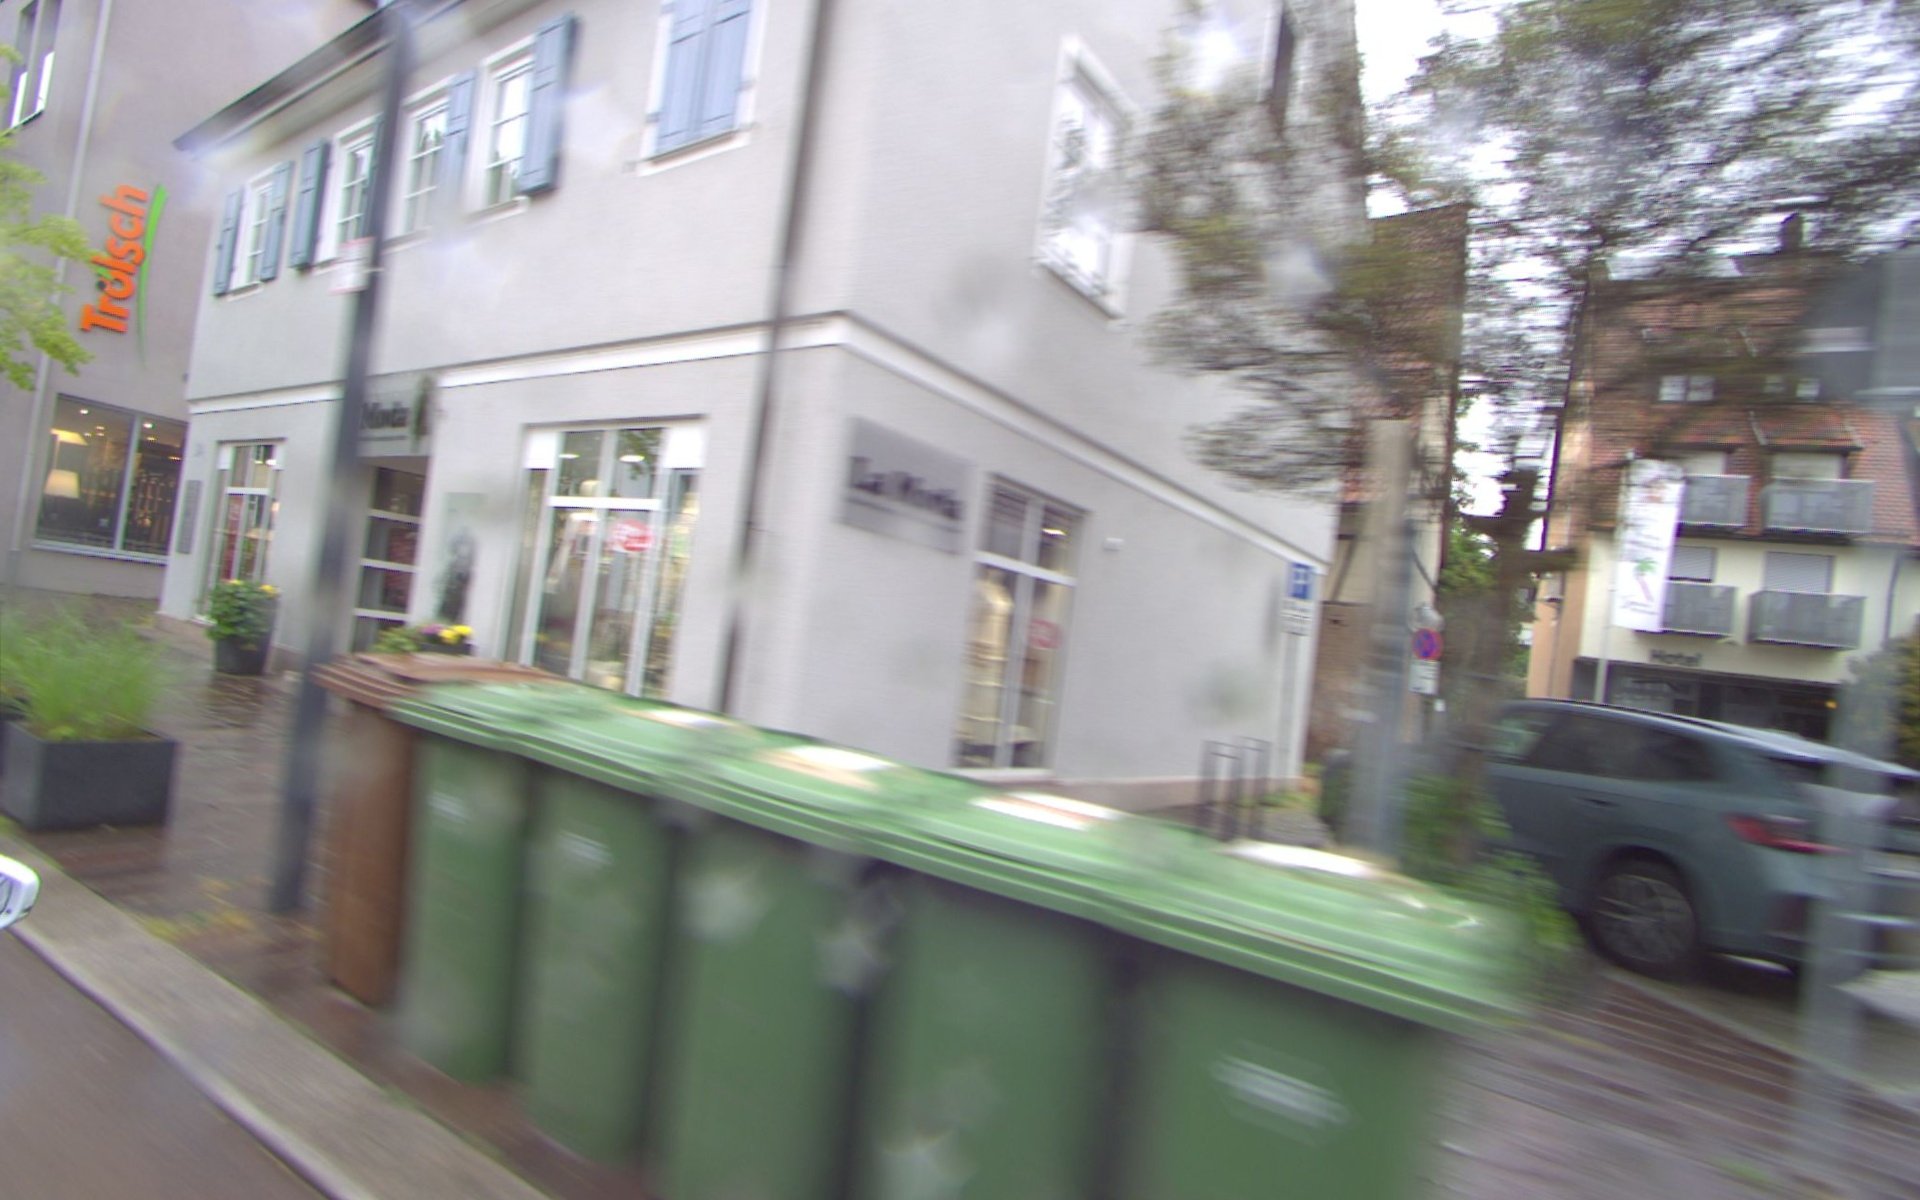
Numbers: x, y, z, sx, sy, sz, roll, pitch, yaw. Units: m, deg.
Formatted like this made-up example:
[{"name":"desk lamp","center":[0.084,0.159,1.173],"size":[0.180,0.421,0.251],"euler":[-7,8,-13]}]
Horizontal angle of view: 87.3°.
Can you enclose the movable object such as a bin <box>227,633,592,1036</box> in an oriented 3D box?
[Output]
[{"name":"movable object such as a bin","center":[-1.839,0.723,3.418],"size":[0.645,1.103,0.755],"euler":[7,-1,30]}]

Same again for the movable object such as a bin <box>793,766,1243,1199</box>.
[{"name":"movable object such as a bin","center":[0.153,0.949,2.201],"size":[0.590,1.075,0.756],"euler":[5,-4,34]}]

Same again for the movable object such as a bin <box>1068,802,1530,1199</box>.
[{"name":"movable object such as a bin","center":[0.649,0.990,1.883],"size":[0.589,1.091,0.770],"euler":[5,-4,34]}]

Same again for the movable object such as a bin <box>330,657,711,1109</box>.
[{"name":"movable object such as a bin","center":[-1.320,0.789,3.096],"size":[0.601,1.110,0.737],"euler":[5,-3,33]}]

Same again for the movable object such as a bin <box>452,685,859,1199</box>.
[{"name":"movable object such as a bin","center":[-0.808,0.843,2.780],"size":[0.601,1.110,0.737],"euler":[5,-3,33]}]

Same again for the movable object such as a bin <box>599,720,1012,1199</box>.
[{"name":"movable object such as a bin","center":[-0.340,0.890,2.457],"size":[0.513,1.102,0.730],"euler":[5,-4,34]}]

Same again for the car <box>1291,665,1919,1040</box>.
[{"name":"car","center":[4.770,1.579,7.591],"size":[1.862,1.618,4.373],"euler":[9,-2,-20]}]
